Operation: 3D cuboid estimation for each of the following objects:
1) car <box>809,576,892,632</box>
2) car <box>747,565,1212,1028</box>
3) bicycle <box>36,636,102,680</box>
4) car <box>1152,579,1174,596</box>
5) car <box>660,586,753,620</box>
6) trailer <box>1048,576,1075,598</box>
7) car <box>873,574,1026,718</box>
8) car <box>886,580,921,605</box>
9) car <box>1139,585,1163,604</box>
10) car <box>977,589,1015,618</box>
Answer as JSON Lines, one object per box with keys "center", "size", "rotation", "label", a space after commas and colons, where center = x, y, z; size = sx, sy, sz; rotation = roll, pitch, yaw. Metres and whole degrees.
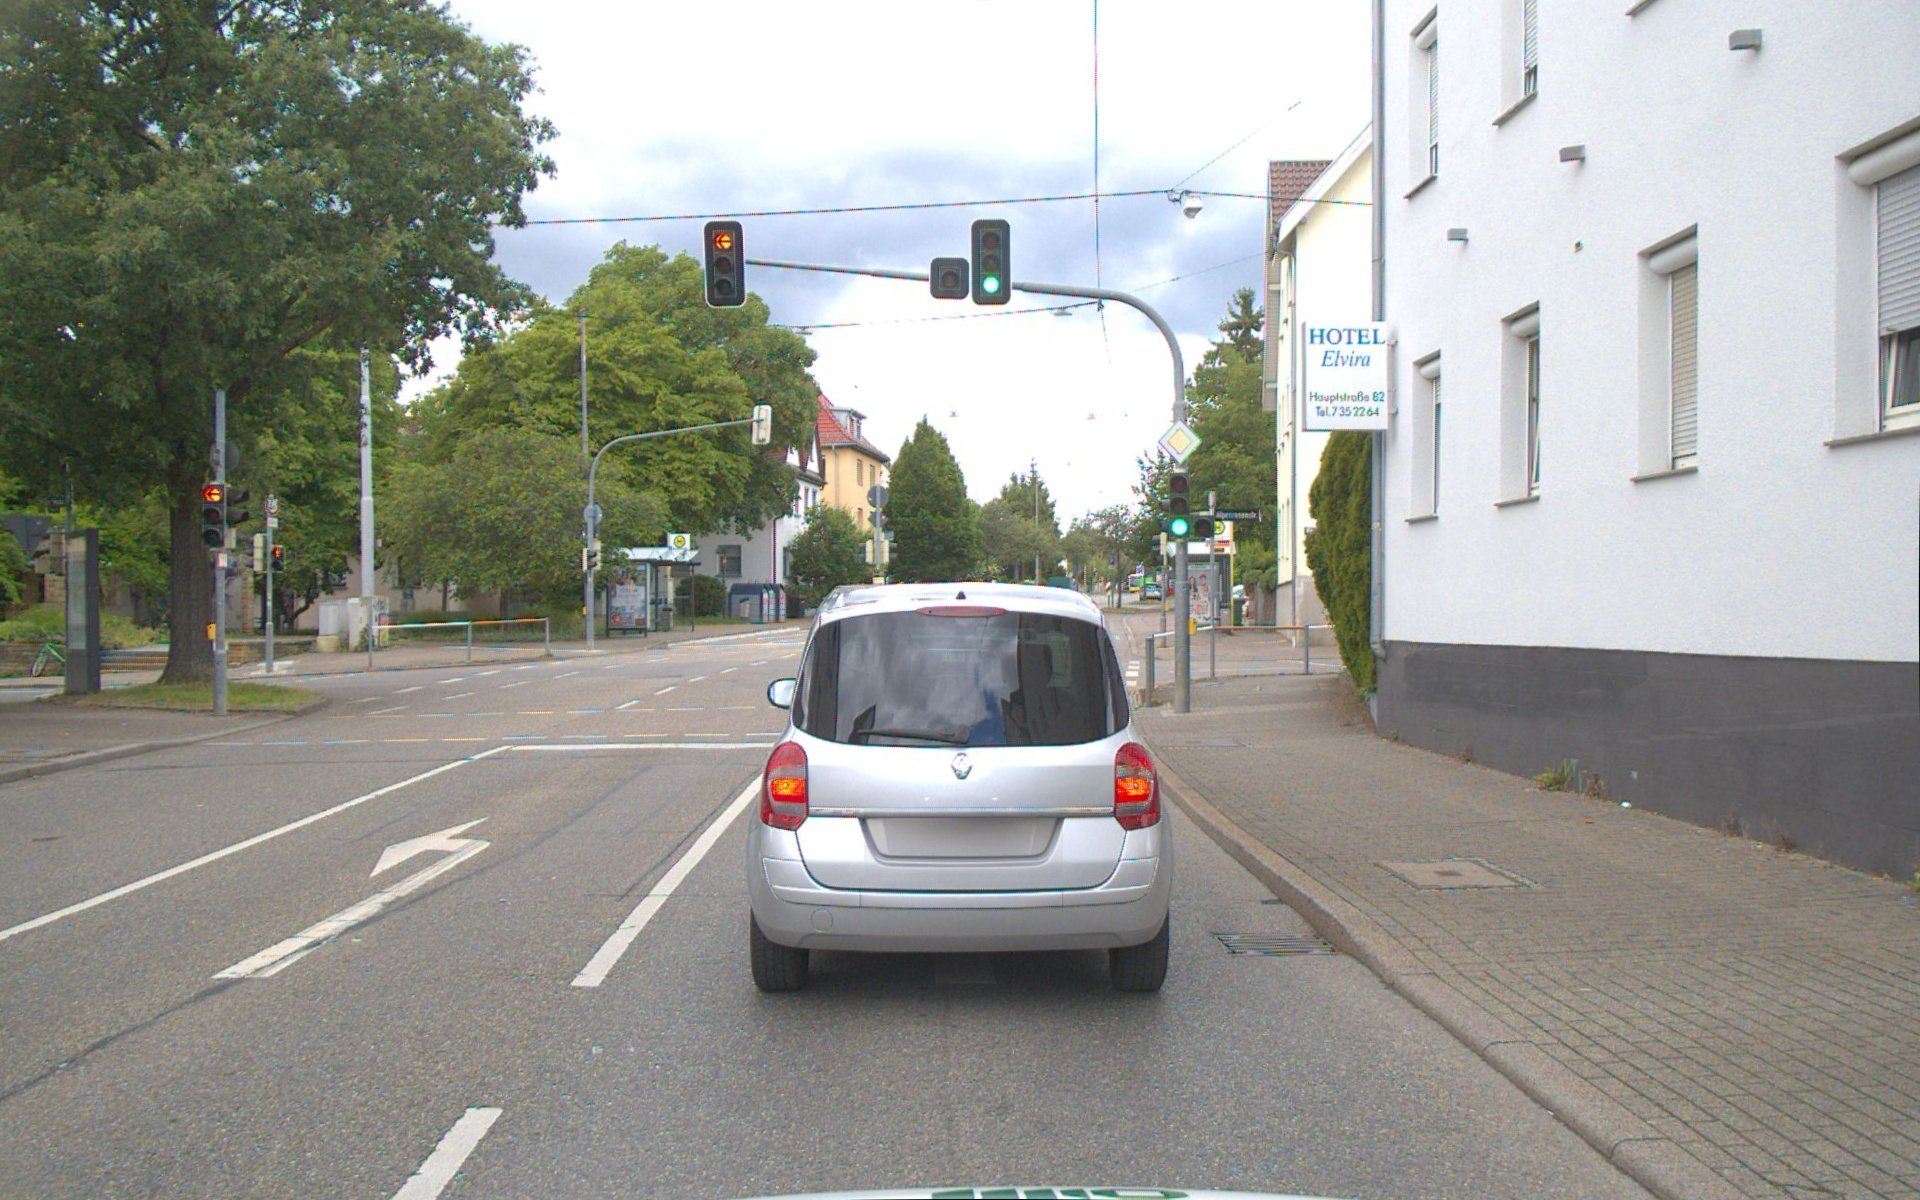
{"center": [-3.510, 0.140, 53.772], "size": [1.720, 1.663, 4.598], "rotation": [-2, -1, 8], "label": "car"}
{"center": [0.111, 0.684, 7.759], "size": [1.596, 1.584, 4.001], "rotation": [1, 0, 1], "label": "car"}
{"center": [-21.568, 1.394, 40.050], "size": [1.290, 0.958, 0.424], "rotation": [-4, 0, -9], "label": "bicycle"}
{"center": [17.584, -1.080, 143.359], "size": [1.627, 1.417, 3.671], "rotation": [0, 1, 11], "label": "car"}
{"center": [-11.696, 0.149, 76.383], "size": [3.902, 1.355, 1.723], "rotation": [-3, -1, 7], "label": "car"}
{"center": [10.146, -1.292, 165.502], "size": [2.263, 2.123, 5.877], "rotation": [1, 0, 8], "label": "trailer"}
{"center": [-0.055, 0.543, 21.578], "size": [1.791, 1.705, 3.575], "rotation": [-1, 0, 3], "label": "car"}
{"center": [-3.934, -0.566, 115.383], "size": [1.768, 1.591, 4.622], "rotation": [-3, 1, 5], "label": "car"}
{"center": [14.360, -0.383, 124.335], "size": [1.615, 1.406, 4.003], "rotation": [0, 0, 10], "label": "car"}
{"center": [1.911, 0.184, 86.779], "size": [1.530, 1.445, 4.133], "rotation": [-1, -1, 8], "label": "car"}
